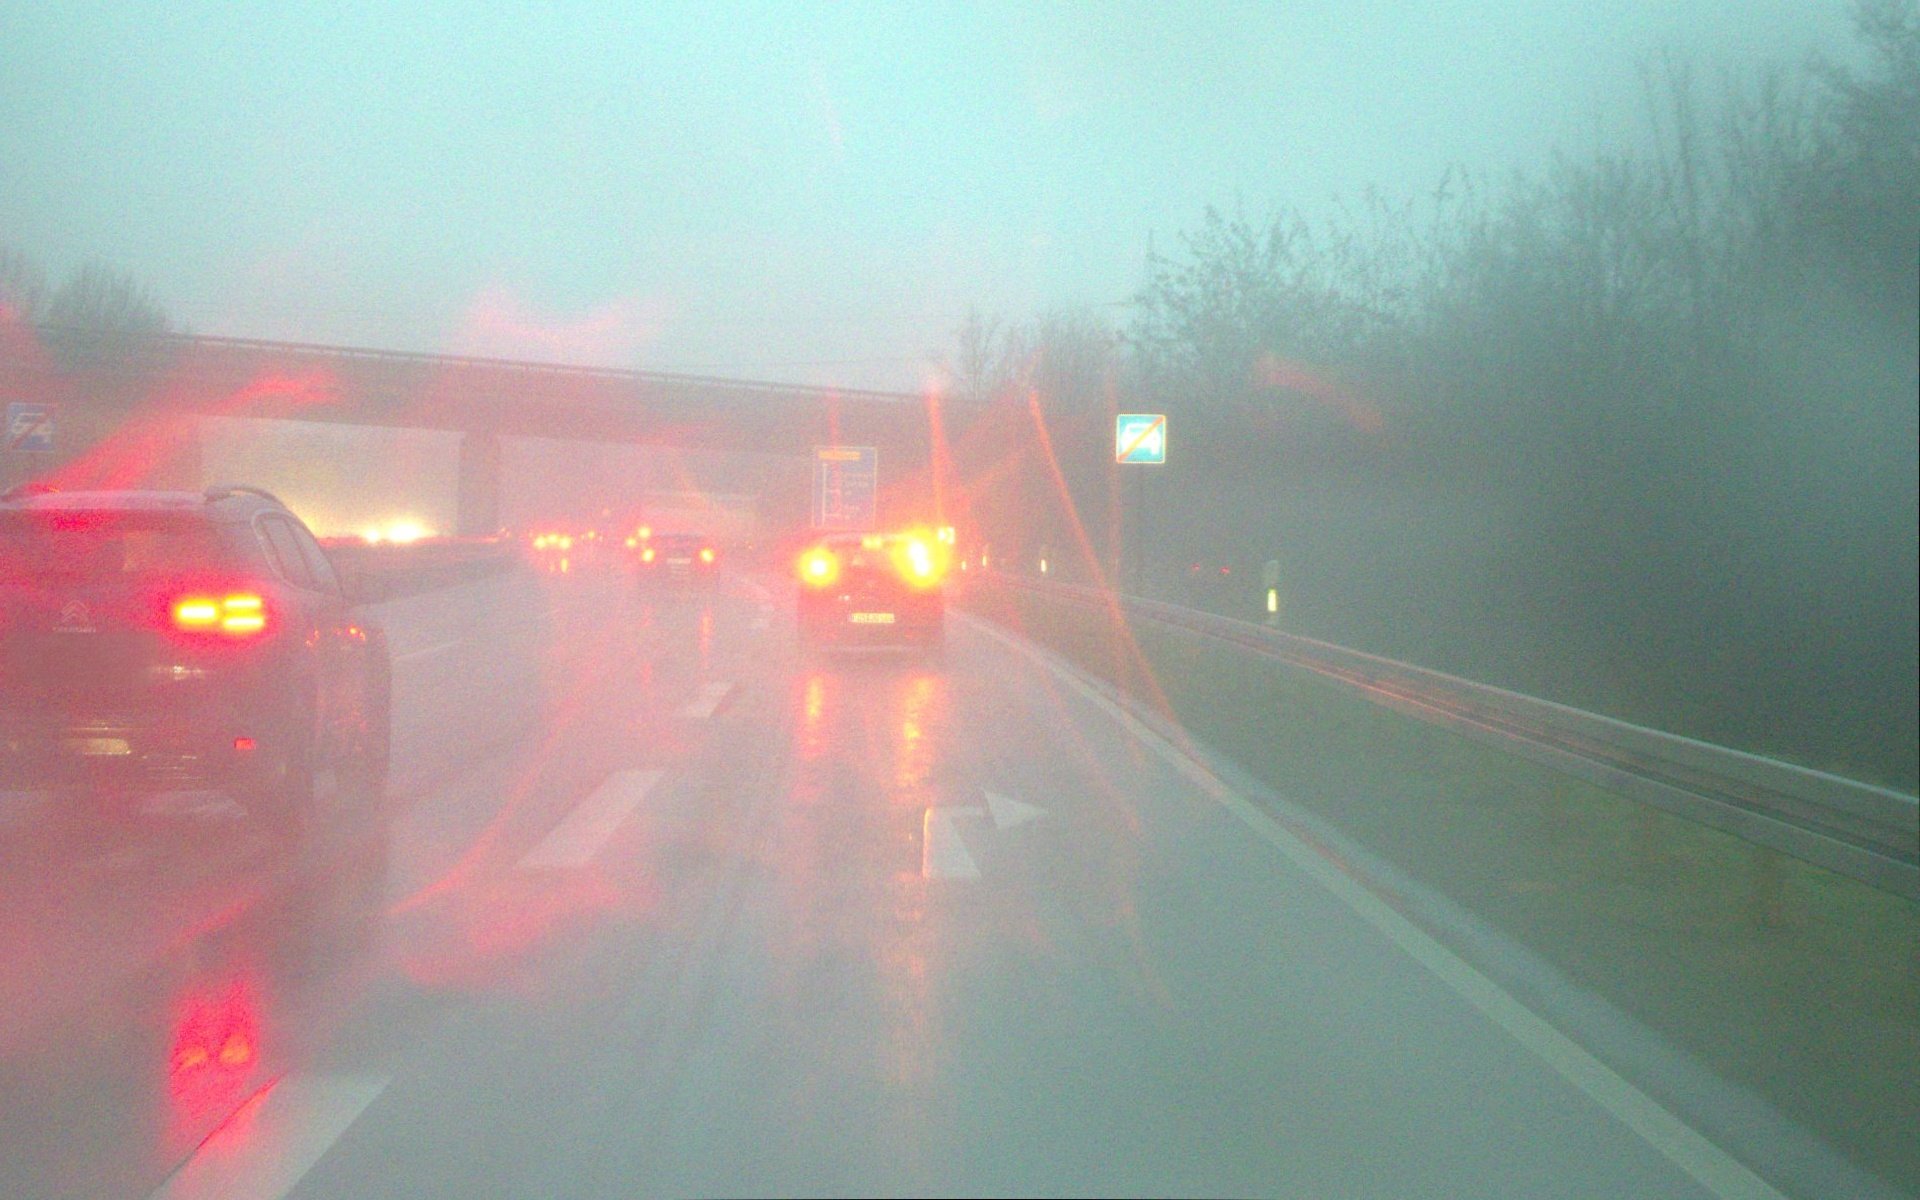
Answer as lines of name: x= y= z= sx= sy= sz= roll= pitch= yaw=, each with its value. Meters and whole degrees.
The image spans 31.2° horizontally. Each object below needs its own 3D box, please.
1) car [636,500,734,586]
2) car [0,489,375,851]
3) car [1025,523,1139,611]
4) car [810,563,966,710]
car: x=-5.766 y=-1.230 z=72.542 sx=1.878 sy=1.611 sz=3.875 roll=2 pitch=3 yaw=-3
car: x=-4.141 y=0.278 z=17.812 sx=1.993 sy=1.659 sz=4.001 roll=0 pitch=1 yaw=-7
car: x=1.993 y=-0.538 z=57.008 sx=1.683 sy=1.413 sz=3.874 roll=0 pitch=0 yaw=-1
car: x=-0.818 y=0.394 z=40.801 sx=1.732 sy=1.424 sz=3.766 roll=1 pitch=4 yaw=0
